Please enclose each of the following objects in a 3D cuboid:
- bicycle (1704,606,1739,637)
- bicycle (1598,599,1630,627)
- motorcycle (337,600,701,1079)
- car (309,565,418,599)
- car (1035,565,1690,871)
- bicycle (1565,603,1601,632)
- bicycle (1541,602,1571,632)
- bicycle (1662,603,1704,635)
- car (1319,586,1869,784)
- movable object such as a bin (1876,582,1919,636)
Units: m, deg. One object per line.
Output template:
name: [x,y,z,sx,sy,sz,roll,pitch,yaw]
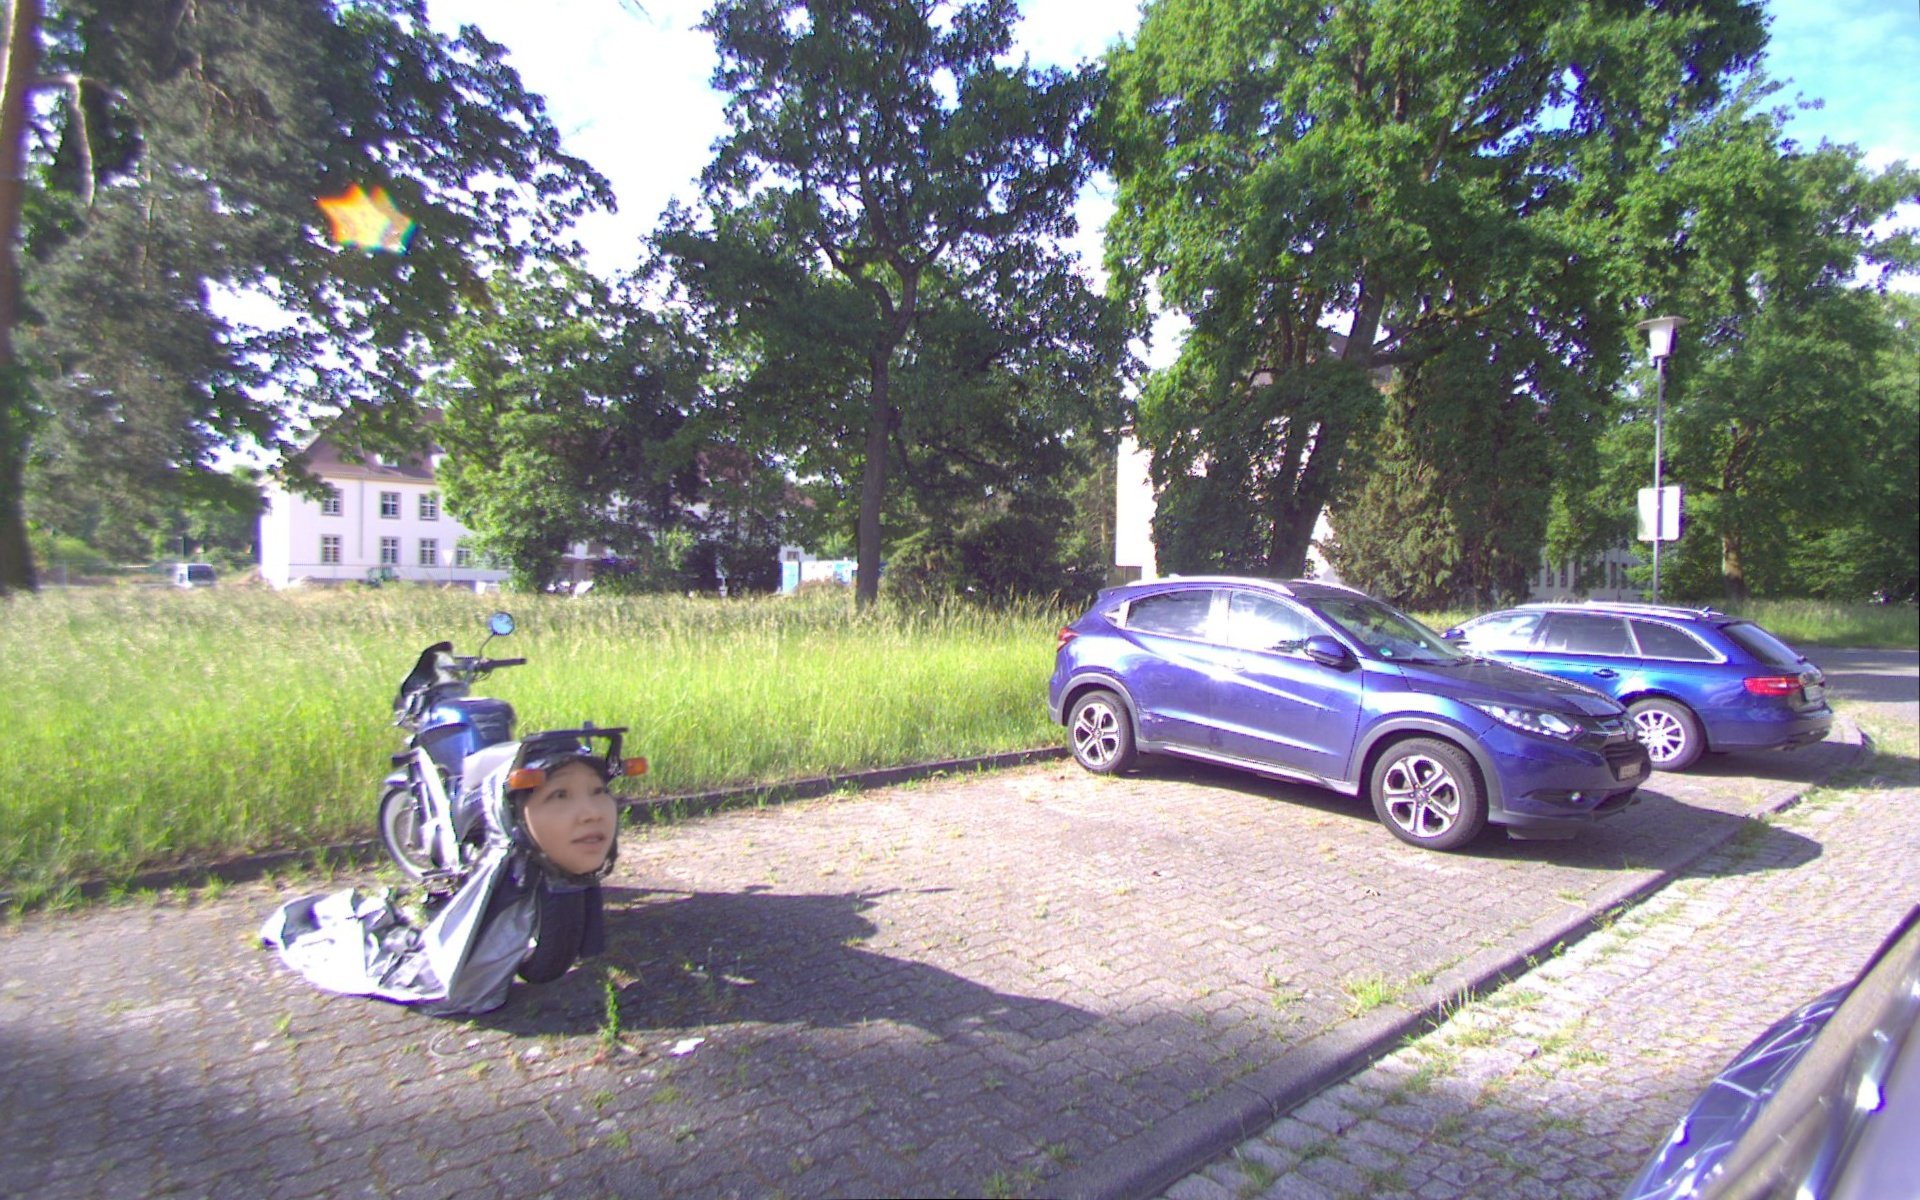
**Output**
bicycle: [24.650,0.696,32.756,1.121,0.946,0.746,0,1,-44]
bicycle: [25.161,0.494,38.939,0.700,1.029,1.023,1,1,12]
motorcycle: [-1.910,0.712,4.110,0.713,1.336,2.304,0,2,-40]
car: [-39.656,-1.214,67.499,5.888,2.198,2.381,-1,1,-18]
car: [2.639,0.568,7.476,1.721,1.611,4.185,0,1,-40]
bicycle: [22.221,0.616,36.082,1.007,1.029,0.711,0,1,-33]
bicycle: [21.456,0.606,36.427,1.008,1.029,0.619,0,1,-38]
bicycle: [23.736,0.613,33.232,1.231,1.029,0.711,0,1,-33]
car: [6.178,0.661,10.411,1.682,1.425,4.463,0,3,-37]
movable object such as a bin: [33.351,0.350,32.855,1.959,1.781,4.949,0,1,-25]
